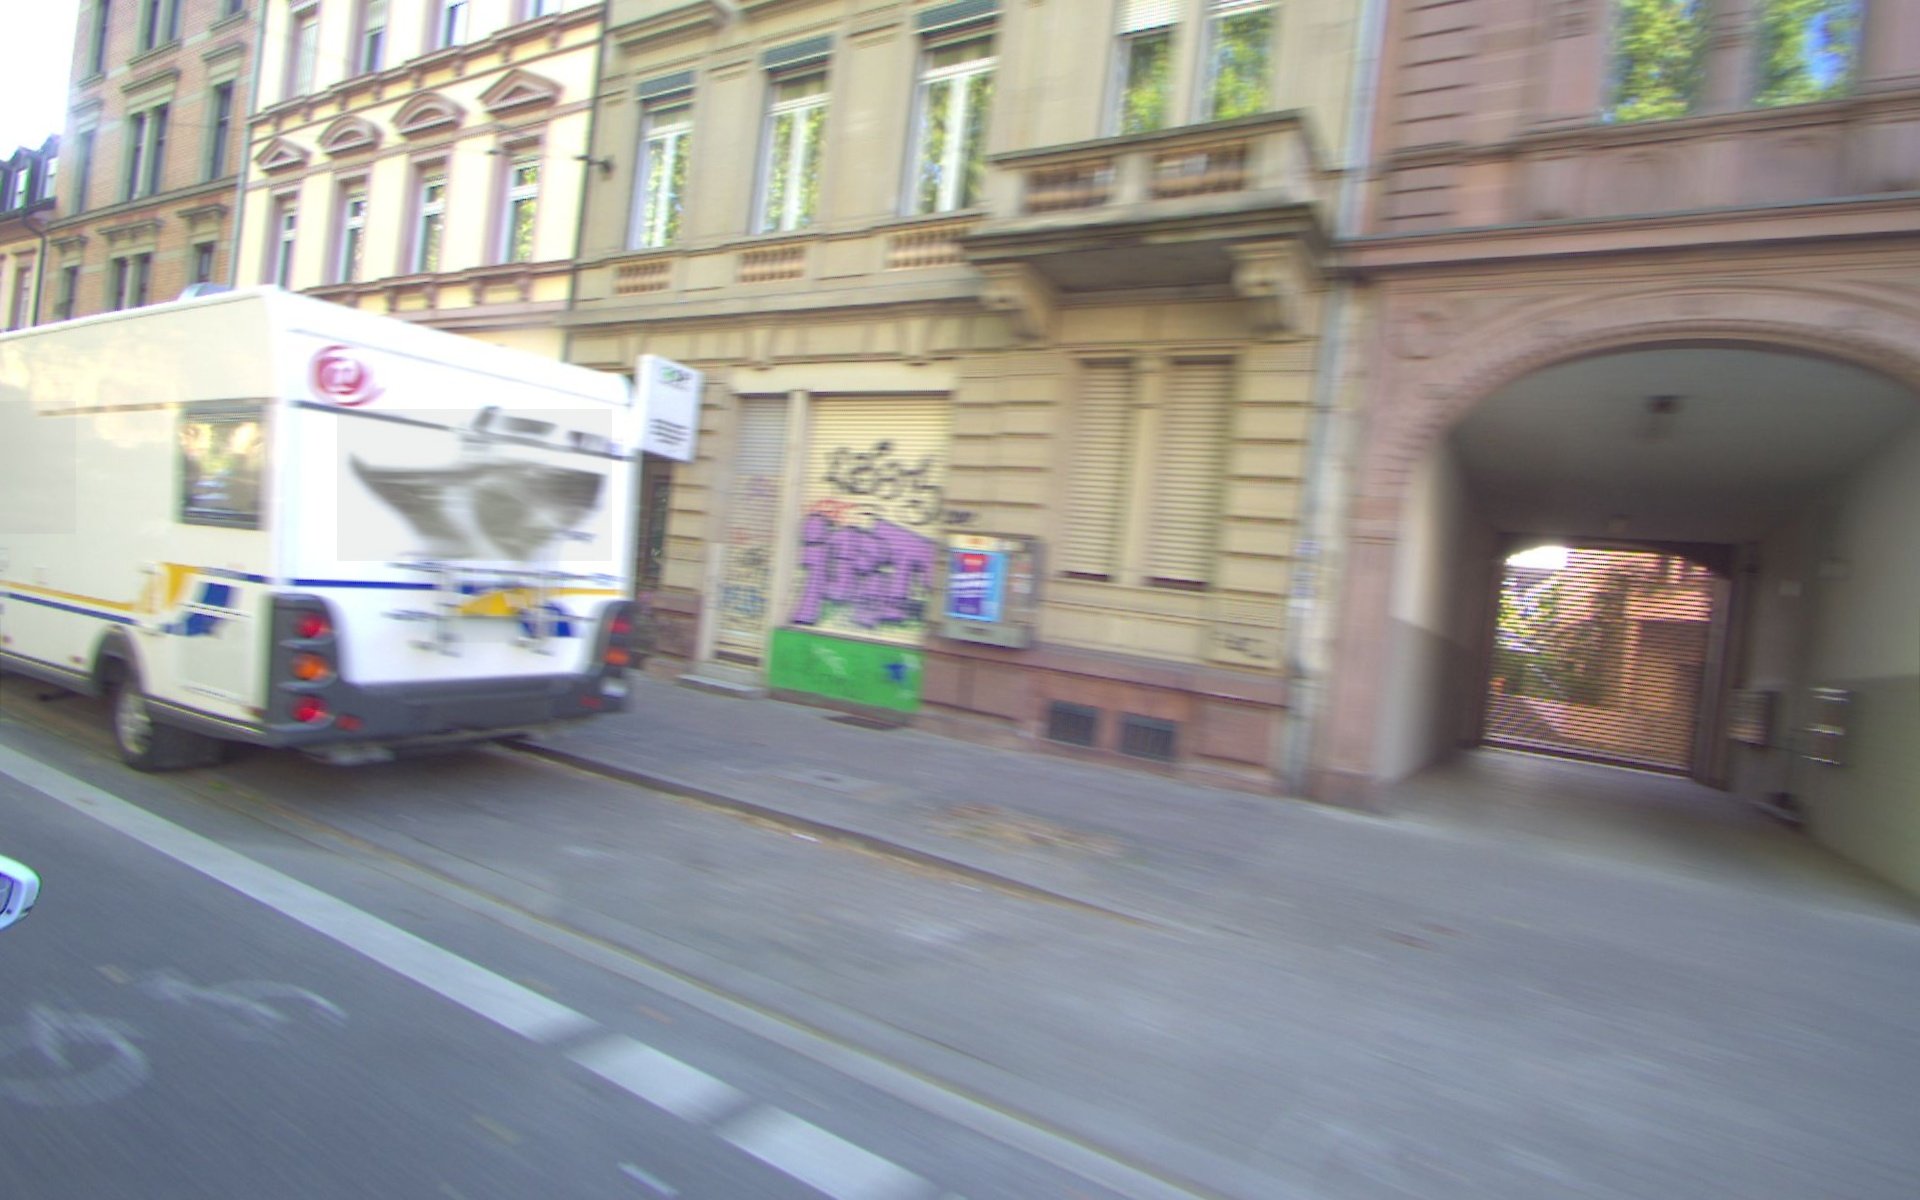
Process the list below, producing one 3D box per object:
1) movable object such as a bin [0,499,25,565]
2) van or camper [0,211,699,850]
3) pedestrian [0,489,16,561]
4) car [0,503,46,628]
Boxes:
[{"bbox_3d":[-23.811,-1.741,24.369,1.265,1.538,1.296,6,-2,31],"label":"movable object such as a bin"},{"bbox_3d":[-5.775,-0.595,7.900,7.756,3.011,2.477,6,2,33],"label":"van or camper"},{"bbox_3d":[-21.020,-1.664,21.690,0.772,1.500,0.659,6,-1,31],"label":"pedestrian"},{"bbox_3d":[-13.096,-0.584,12.466,3.963,1.453,1.645,6,2,33],"label":"car"}]
